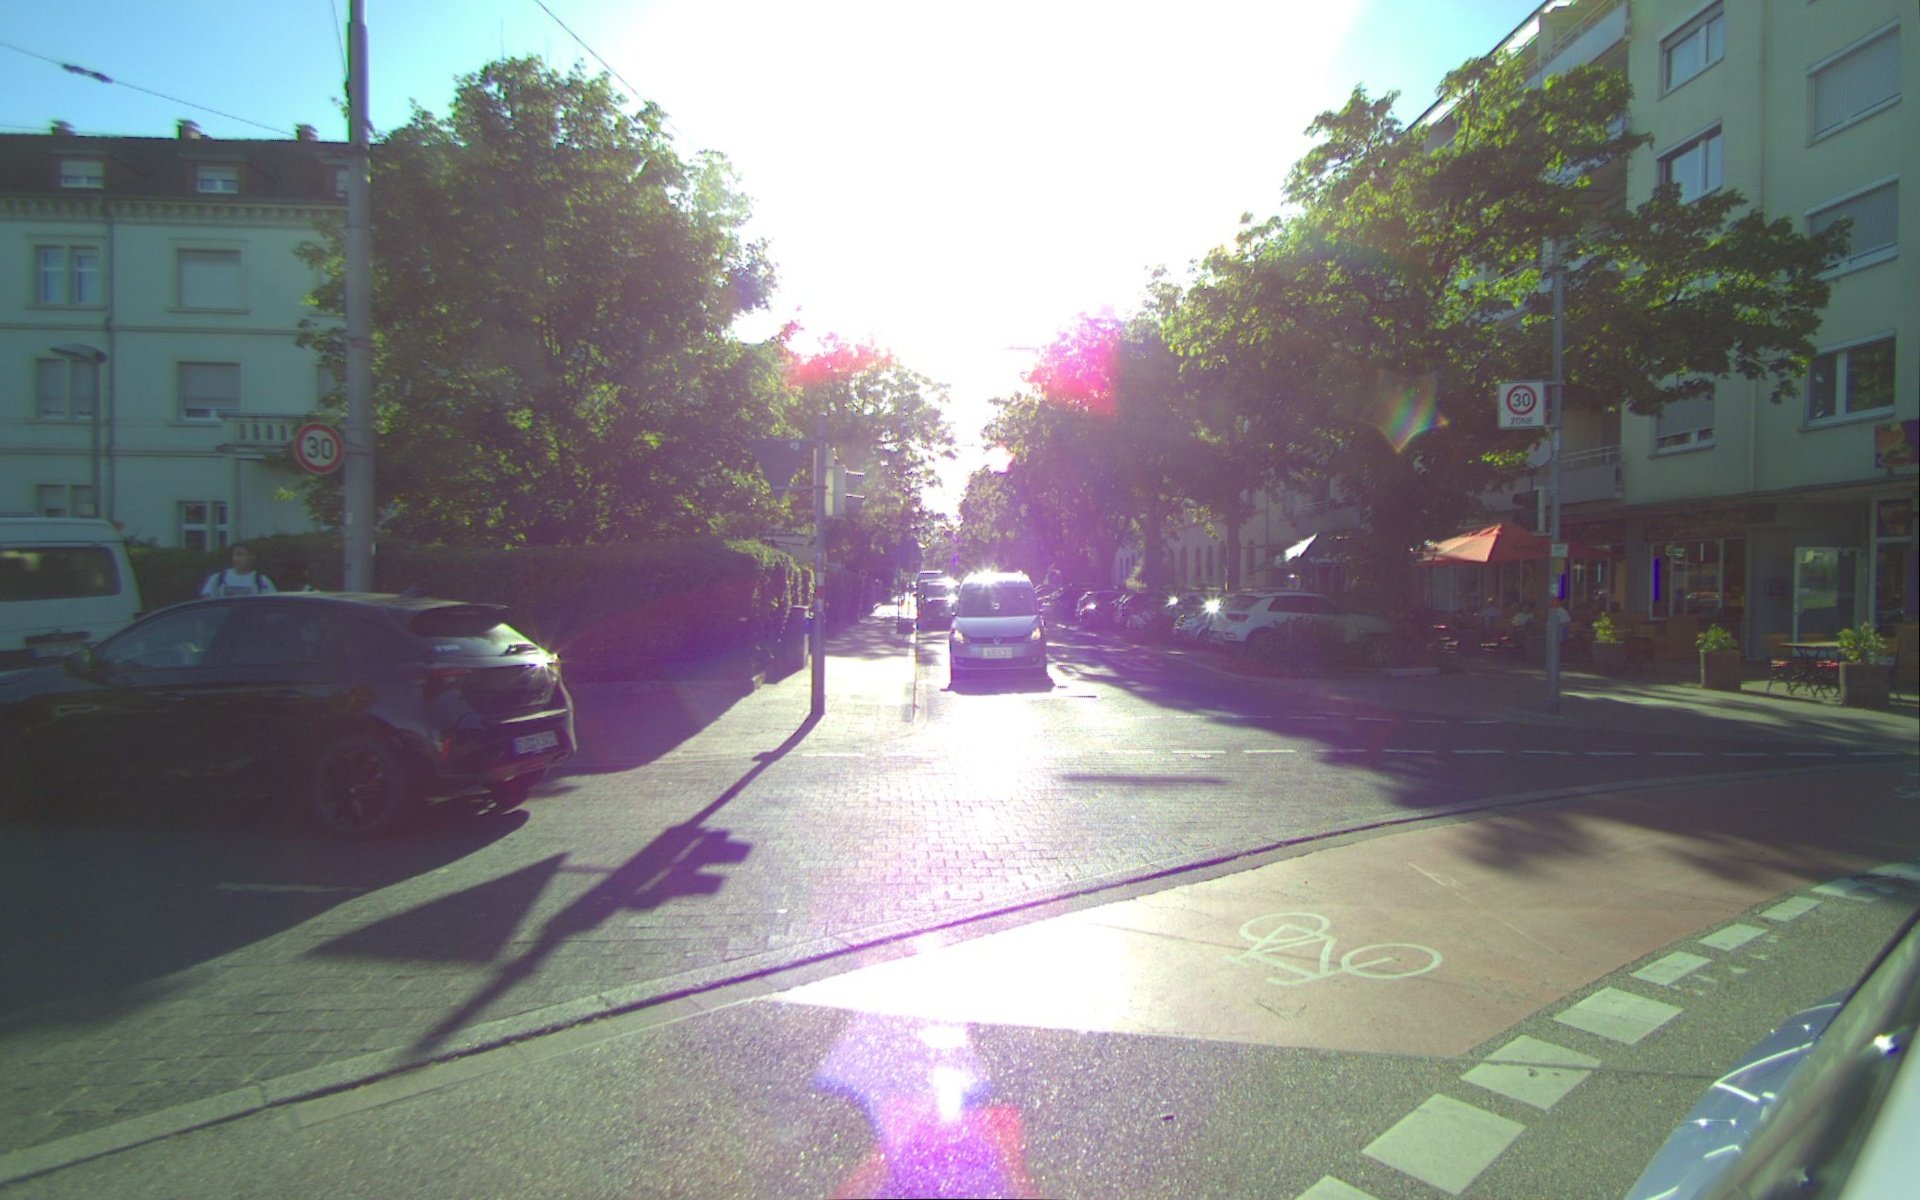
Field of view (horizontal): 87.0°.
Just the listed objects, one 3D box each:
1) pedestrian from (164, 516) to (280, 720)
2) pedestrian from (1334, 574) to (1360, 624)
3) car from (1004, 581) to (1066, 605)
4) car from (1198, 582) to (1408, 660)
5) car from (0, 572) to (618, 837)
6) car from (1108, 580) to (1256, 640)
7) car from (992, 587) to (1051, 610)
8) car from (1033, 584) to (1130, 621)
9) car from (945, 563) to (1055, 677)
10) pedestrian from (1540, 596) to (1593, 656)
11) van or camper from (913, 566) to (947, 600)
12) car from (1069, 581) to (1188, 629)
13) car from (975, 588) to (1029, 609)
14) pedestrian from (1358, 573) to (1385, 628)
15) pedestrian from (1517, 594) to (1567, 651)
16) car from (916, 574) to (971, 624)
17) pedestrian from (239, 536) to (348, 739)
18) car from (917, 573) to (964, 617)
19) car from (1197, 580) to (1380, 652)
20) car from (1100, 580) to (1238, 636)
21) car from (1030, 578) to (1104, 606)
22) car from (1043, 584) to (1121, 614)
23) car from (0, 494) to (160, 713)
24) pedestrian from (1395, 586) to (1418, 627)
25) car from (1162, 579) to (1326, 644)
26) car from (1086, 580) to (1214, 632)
[{"bbox_3d":[-7.126,0.154,9.778,0.695,1.869,0.697,1,1,32],"label":"pedestrian"},{"bbox_3d":[13.678,-0.037,35.770,0.709,1.730,0.539,1,0,2],"label":"pedestrian"},{"bbox_3d":[4.847,-0.487,65.735,3.793,1.499,1.718,1,1,-5],"label":"car"},{"bbox_3d":[7.402,0.437,22.044,3.954,1.601,1.712,1,1,-6],"label":"car"},{"bbox_3d":[-4.562,0.564,6.850,3.872,1.459,1.803,1,1,7],"label":"car"},{"bbox_3d":[6.379,0.267,29.322,3.793,1.638,1.718,1,1,-5],"label":"car"},{"bbox_3d":[4.237,-0.095,69.980,3.793,1.499,1.718,1,1,-5],"label":"car"},{"bbox_3d":[5.137,0.082,43.026,3.793,1.499,1.718,1,1,-5],"label":"car"},{"bbox_3d":[0.673,0.295,19.070,1.772,1.836,4.190,-2,1,0],"label":"car"},{"bbox_3d":[12.827,0.534,21.421,0.647,1.234,0.741,1,0,-3],"label":"pedestrian"},{"bbox_3d":[-2.211,-1.215,72.517,2.325,2.367,5.017,1,1,-2],"label":"van or camper"},{"bbox_3d":[5.928,0.154,35.833,3.793,1.638,1.718,1,1,-5],"label":"car"},{"bbox_3d":[3.130,-0.146,75.576,3.793,1.499,1.718,1,1,-5],"label":"car"},{"bbox_3d":[13.897,0.013,34.183,0.661,1.834,0.539,1,0,2],"label":"pedestrian"},{"bbox_3d":[12.936,0.488,22.495,0.647,1.234,0.741,1,0,-3],"label":"pedestrian"},{"bbox_3d":[-0.680,-0.067,38.319,1.961,1.749,4.002,1,1,-2],"label":"car"},{"bbox_3d":[-6.212,0.333,9.459,0.605,1.814,0.702,1,0,-8],"label":"pedestrian"},{"bbox_3d":[-0.895,-0.232,44.735,1.961,1.838,4.330,1,1,-2],"label":"car"},{"bbox_3d":[7.886,0.367,24.487,3.826,1.638,1.718,1,1,-5],"label":"car"},{"bbox_3d":[6.371,0.234,31.080,3.793,1.638,1.718,1,1,-5],"label":"car"},{"bbox_3d":[5.892,-0.442,55.961,3.793,1.499,1.718,1,1,-5],"label":"car"},{"bbox_3d":[6.430,-0.069,53.569,3.793,1.499,1.718,1,1,-5],"label":"car"},{"bbox_3d":[-11.979,0.049,11.824,4.246,2.306,2.085,0,-1,16],"label":"car"},{"bbox_3d":[15.388,0.217,34.895,0.562,1.377,0.672,1,0,9],"label":"pedestrian"},{"bbox_3d":[7.485,0.295,26.840,3.793,1.638,1.718,1,1,-5],"label":"car"},{"bbox_3d":[6.234,0.172,33.492,3.793,1.638,1.718,1,1,-5],"label":"car"}]
